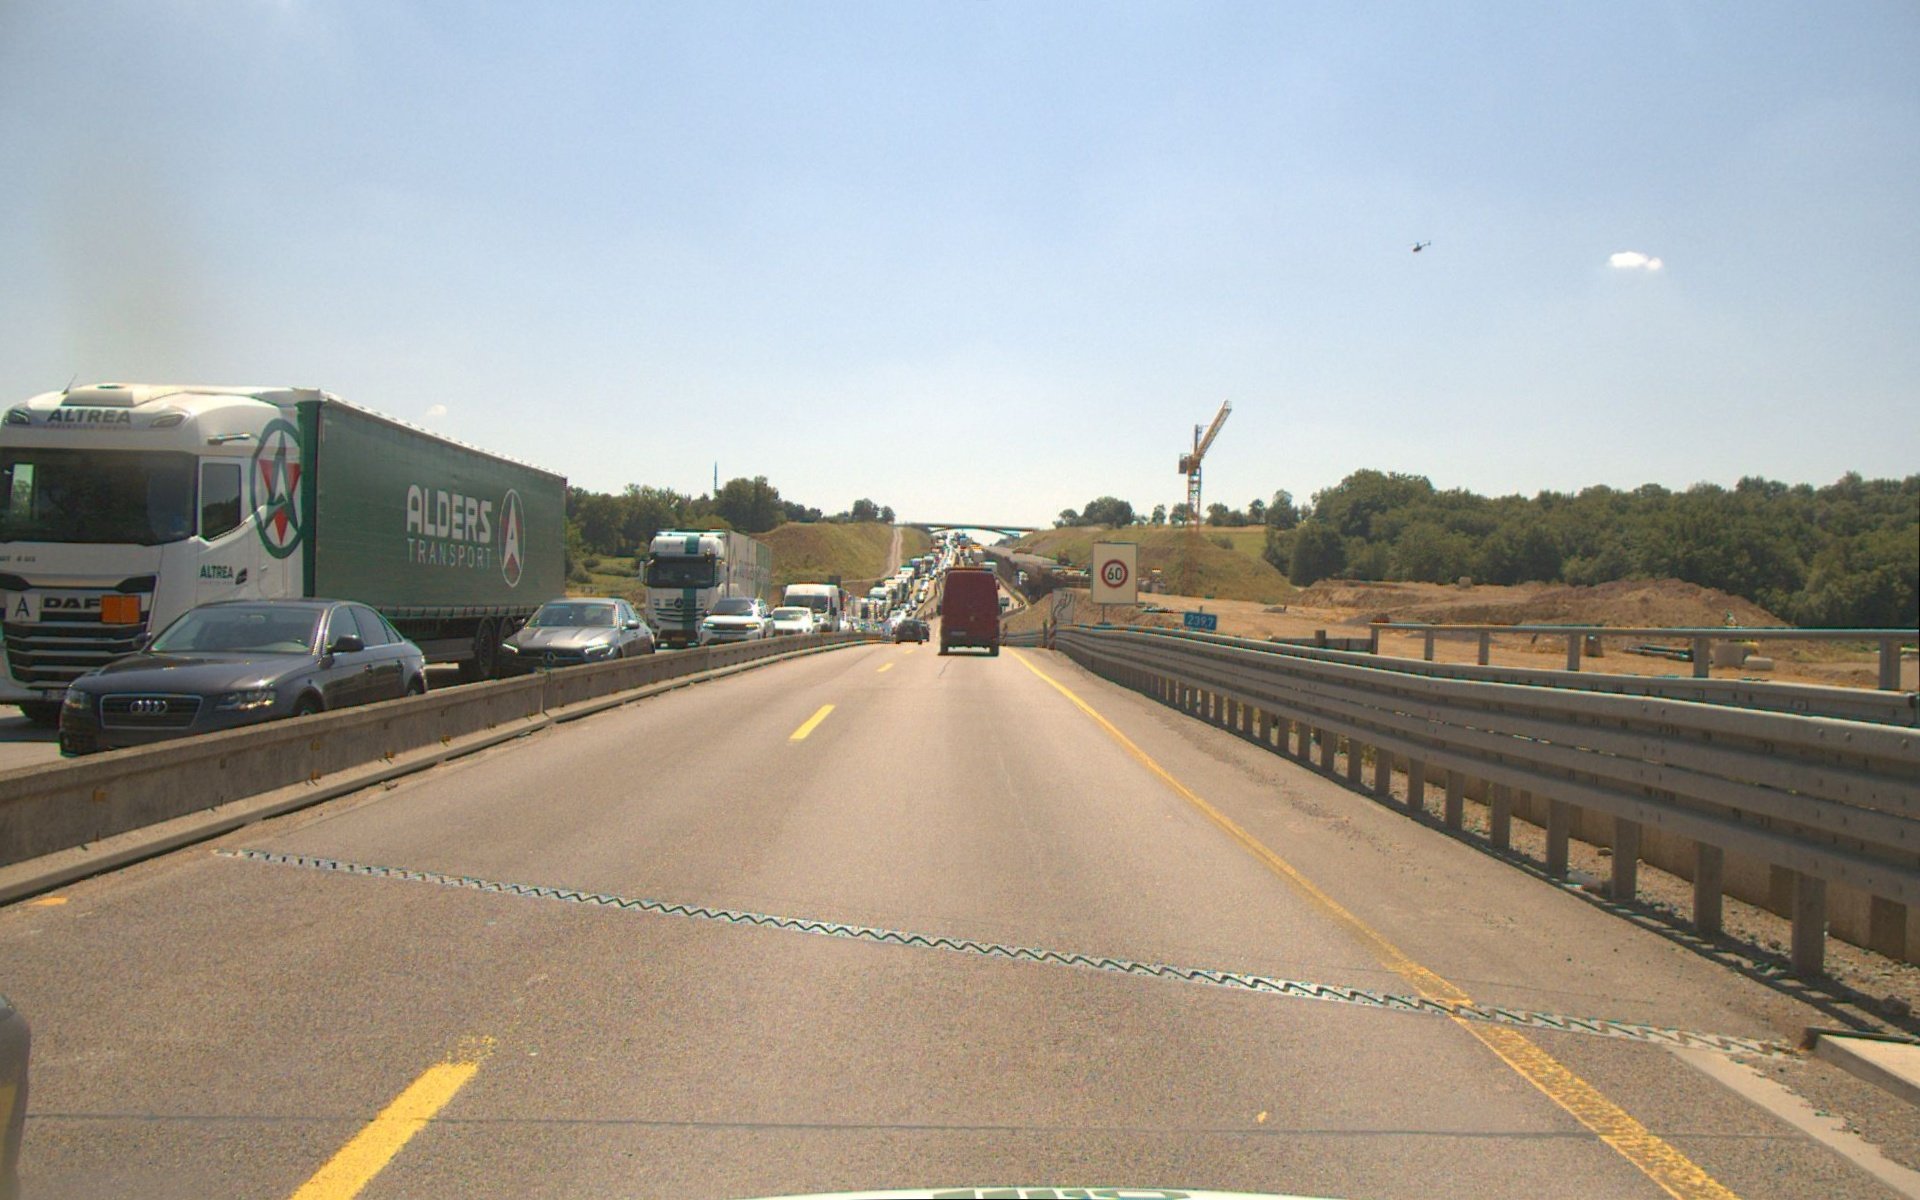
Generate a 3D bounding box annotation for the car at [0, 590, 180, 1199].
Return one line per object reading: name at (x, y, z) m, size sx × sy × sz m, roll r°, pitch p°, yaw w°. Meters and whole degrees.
car at (-2.694, 0.716, 1.427) m, size 1.814 × 1.477 × 4.741 m, roll 1°, pitch 0°, yaw -1°

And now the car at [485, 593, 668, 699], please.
car at (-6.060, 0.674, 26.692) m, size 1.827 × 1.484 × 4.607 m, roll 3°, pitch 0°, yaw 0°

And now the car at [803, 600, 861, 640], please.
car at (-6.241, 0.931, 81.229) m, size 2.323 × 1.756 × 5.780 m, roll 3°, pitch 0°, yaw 0°

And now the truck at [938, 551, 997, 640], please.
truck at (0.348, -0.233, 92.289) m, size 2.960 × 4.775 × 6.929 m, roll -1°, pitch 0°, yaw -2°

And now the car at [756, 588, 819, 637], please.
car at (-5.945, 0.410, 57.471) m, size 1.954 × 1.524 × 4.970 m, roll 3°, pitch 0°, yaw -5°

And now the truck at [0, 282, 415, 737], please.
truck at (-9.473, -0.934, 20.424) m, size 3.015 × 4.616 × 7.102 m, roll 1°, pitch 0°, yaw 0°

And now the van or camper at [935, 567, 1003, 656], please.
van or camper at (0.257, 0.368, 54.670) m, size 1.988 × 2.792 × 4.513 m, roll 1°, pitch 0°, yaw -2°

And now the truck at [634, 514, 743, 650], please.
truck at (-9.394, -0.615, 57.891) m, size 2.749 × 4.469 × 6.224 m, roll 1°, pitch 0°, yaw 0°

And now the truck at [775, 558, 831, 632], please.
truck at (-9.891, -0.231, 105.328) m, size 2.746 × 4.225 × 10.073 m, roll 2°, pitch -2°, yaw -2°

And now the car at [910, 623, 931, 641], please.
car at (-3.802, 3.033, 158.804) m, size 1.971 × 1.572 × 4.131 m, roll 2°, pitch 0°, yaw -1°

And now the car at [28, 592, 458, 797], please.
car at (-5.996, 0.698, 14.516) m, size 1.741 × 1.445 × 4.537 m, roll 2°, pitch 0°, yaw 0°

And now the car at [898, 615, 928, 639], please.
car at (-3.185, 1.811, 111.855) m, size 1.971 × 1.572 × 4.130 m, roll 1°, pitch 0°, yaw -2°

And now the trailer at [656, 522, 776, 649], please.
trailer at (-9.428, -0.415, 65.486) m, size 2.757 × 4.508 × 13.166 m, roll 0°, pitch -1°, yaw 0°

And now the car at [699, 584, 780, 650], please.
car at (-6.119, 0.455, 46.280) m, size 1.721 × 1.675 × 4.154 m, roll 3°, pitch 0°, yaw -1°

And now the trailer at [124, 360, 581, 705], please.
trailer at (-9.506, -0.896, 28.344) m, size 3.038 × 4.543 × 13.018 m, roll 0°, pitch 0°, yaw 0°

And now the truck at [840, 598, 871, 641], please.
truck at (-10.638, 2.029, 168.322) m, size 2.919 × 4.258 × 5.868 m, roll 1°, pitch -1°, yaw -5°

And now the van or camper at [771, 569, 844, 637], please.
van or camper at (-6.143, 0.119, 67.436) m, size 2.173 × 2.555 × 6.534 m, roll 3°, pitch 0°, yaw 1°
